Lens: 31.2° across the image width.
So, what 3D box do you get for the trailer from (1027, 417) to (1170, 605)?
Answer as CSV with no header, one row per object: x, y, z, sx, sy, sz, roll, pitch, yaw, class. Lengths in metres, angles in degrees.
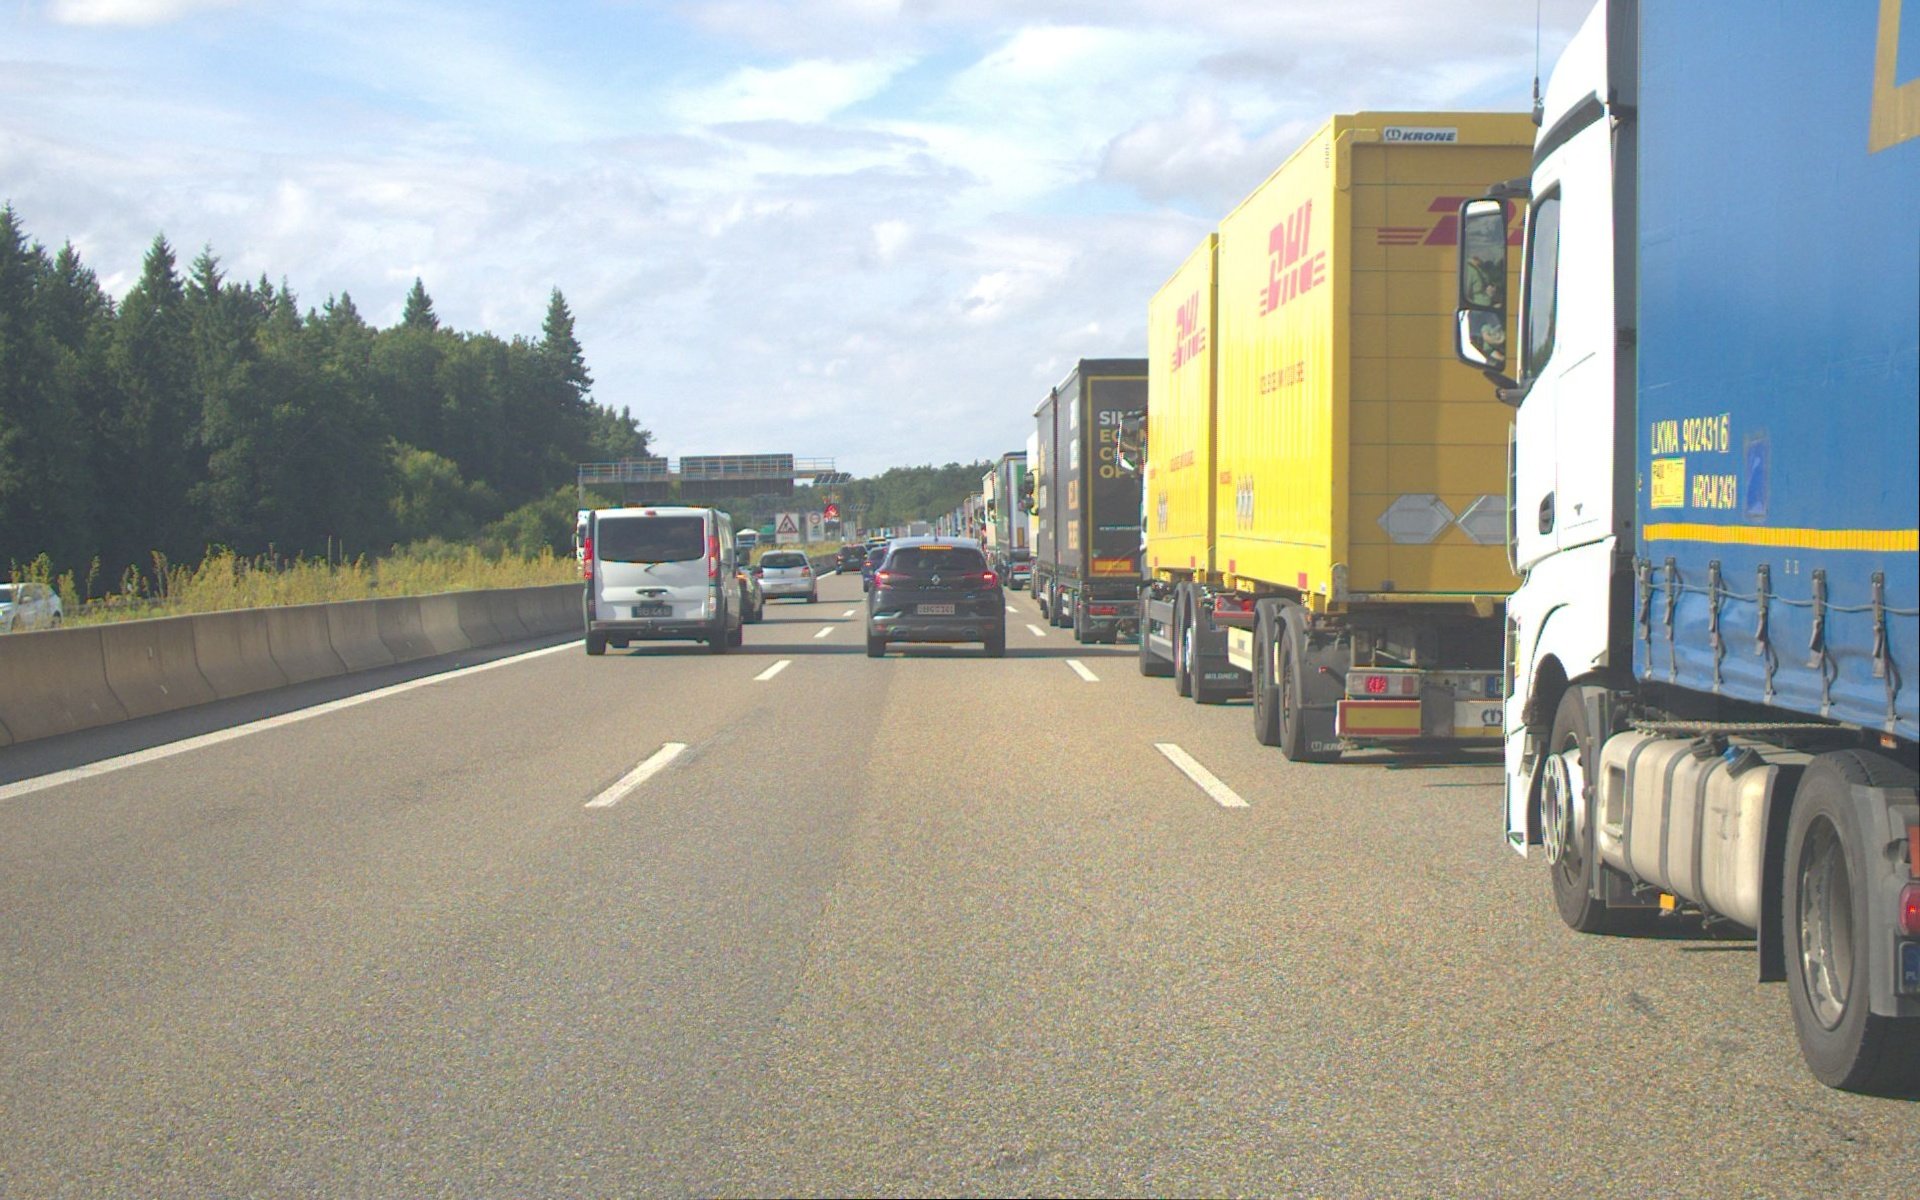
3.052,-1.962,79.104,2.792,3.925,13.070,-1,1,0,trailer

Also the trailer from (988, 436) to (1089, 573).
2.306,-2.815,105.398,2.661,3.855,13.395,-2,1,0,trailer

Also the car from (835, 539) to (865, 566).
-5.455,-2.357,170.596,1.434,1.305,3.533,1,1,-1,car

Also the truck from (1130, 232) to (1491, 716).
3.201,-1.149,33.896,2.412,4.054,9.665,1,1,0,truck

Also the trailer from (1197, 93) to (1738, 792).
3.279,-1.000,24.610,2.412,4.054,8.927,1,1,0,trailer

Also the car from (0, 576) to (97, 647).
-24.982,0.270,91.527,1.994,1.793,4.975,1,1,10,car

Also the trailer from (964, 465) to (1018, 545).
1.757,-5.332,195.799,2.802,4.229,11.057,-3,1,1,trailer

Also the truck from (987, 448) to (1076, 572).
2.292,-2.894,112.346,2.647,3.855,6.996,-2,1,0,truck

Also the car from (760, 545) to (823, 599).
-4.514,-0.765,92.484,1.500,1.391,3.476,1,1,0,car

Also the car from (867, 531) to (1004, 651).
-0.321,-0.133,45.196,1.696,1.478,4.160,1,1,0,car

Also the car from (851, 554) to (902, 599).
-2.669,-0.760,110.877,1.581,1.391,3.208,1,1,-1,car

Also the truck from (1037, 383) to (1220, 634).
2.836,-1.542,60.729,2.741,4.024,10.203,1,1,0,truck

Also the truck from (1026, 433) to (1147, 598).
3.105,-2.064,85.785,2.802,3.925,5.826,-1,1,0,truck

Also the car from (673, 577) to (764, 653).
-4.646,0.273,66.482,1.500,1.391,3.476,1,1,0,car

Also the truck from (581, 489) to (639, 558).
-20.664,-4.481,203.164,2.819,3.962,5.833,-1,1,-1,truck

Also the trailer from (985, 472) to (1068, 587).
2.477,-2.683,131.247,2.703,4.068,12.945,-3,1,0,trailer

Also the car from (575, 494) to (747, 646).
-4.076,-0.423,47.624,1.933,1.972,5.099,1,1,0,car

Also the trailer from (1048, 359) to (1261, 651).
2.765,-1.398,51.265,2.716,3.947,8.711,1,1,1,trailer

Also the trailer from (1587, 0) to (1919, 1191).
3.594,-0.631,4.719,2.642,4.084,13.981,1,1,-1,trailer

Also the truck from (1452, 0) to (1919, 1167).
3.496,-0.721,11.344,2.648,4.075,6.492,1,1,-1,truck

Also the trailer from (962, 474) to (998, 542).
1.306,-5.978,225.227,2.150,4.244,8.440,-2,1,0,trailer
